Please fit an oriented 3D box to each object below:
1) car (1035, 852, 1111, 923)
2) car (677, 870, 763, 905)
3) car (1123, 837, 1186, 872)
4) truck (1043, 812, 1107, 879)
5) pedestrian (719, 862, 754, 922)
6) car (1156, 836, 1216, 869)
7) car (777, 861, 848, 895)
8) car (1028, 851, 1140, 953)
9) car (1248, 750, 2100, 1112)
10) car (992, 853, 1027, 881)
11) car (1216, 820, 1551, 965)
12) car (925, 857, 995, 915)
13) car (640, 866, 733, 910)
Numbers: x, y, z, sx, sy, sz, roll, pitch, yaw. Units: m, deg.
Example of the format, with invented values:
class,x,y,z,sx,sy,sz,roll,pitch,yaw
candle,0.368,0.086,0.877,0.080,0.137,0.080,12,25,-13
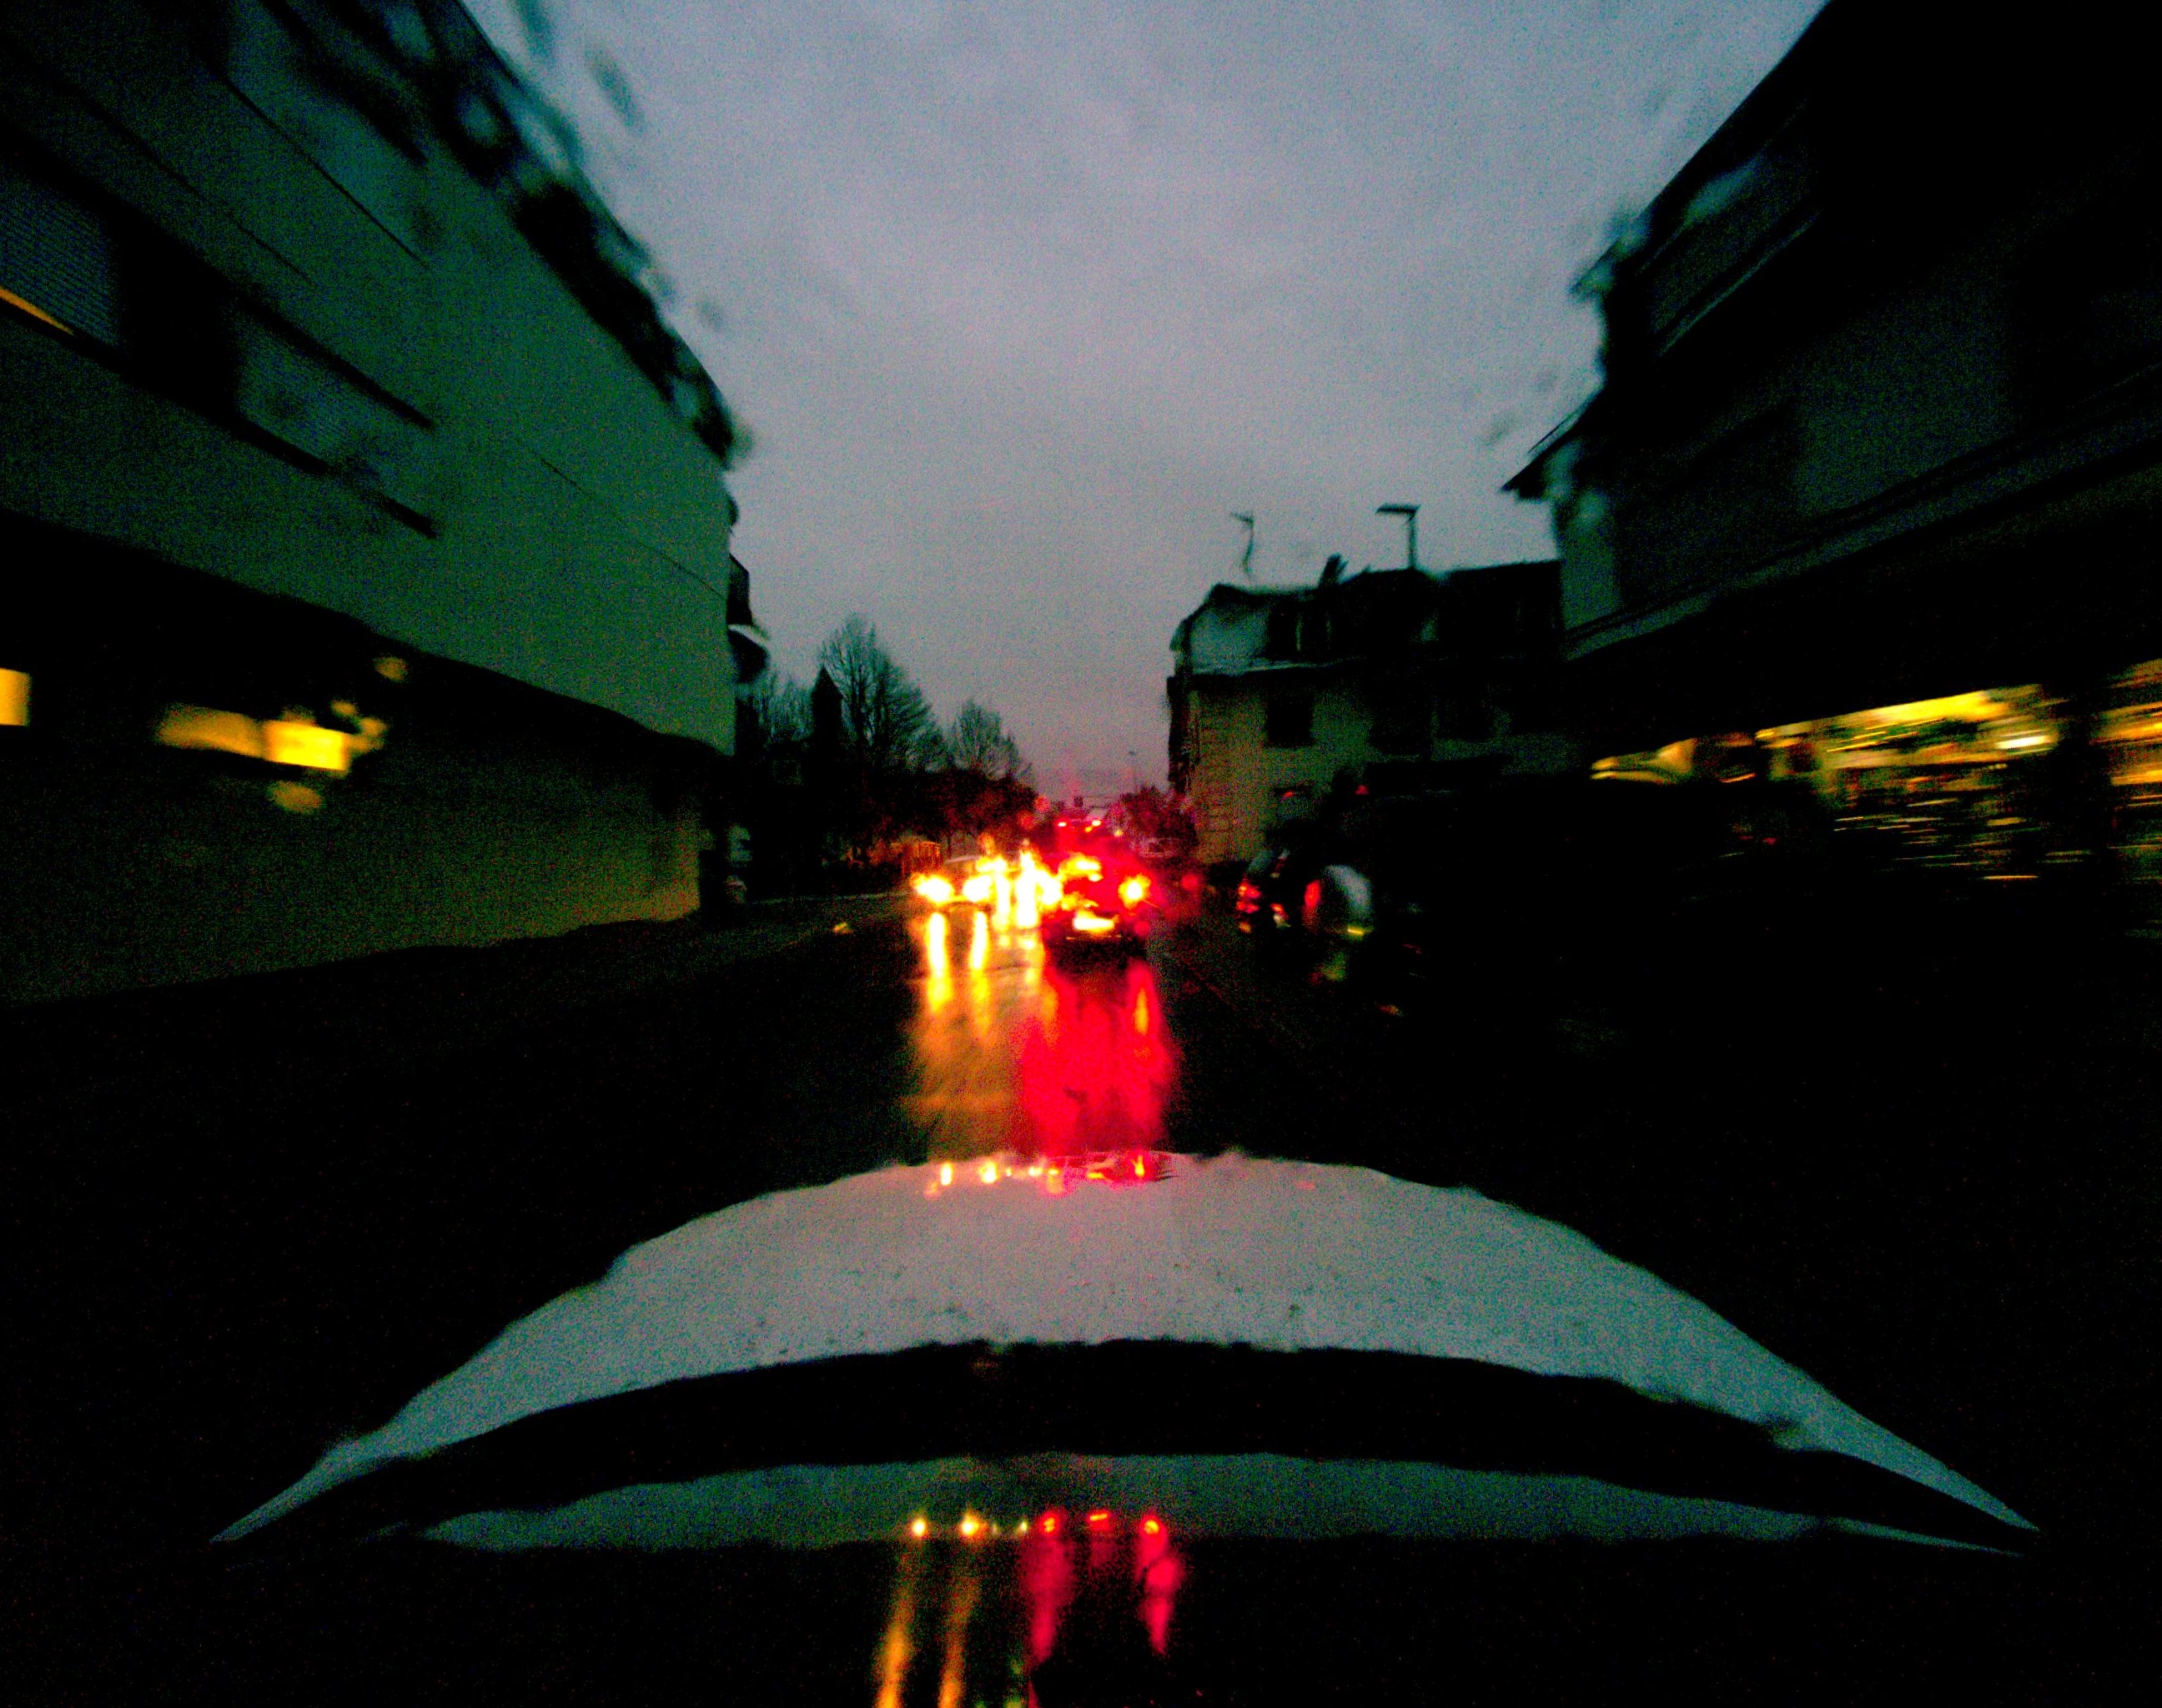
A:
class,x,y,z,sx,sy,sz,roll,pitch,yaw
car,-0.184,0.732,19.474,1.633,1.481,3.270,-2,0,-1
car,-19.342,1.789,43.701,3.954,1.730,1.828,-2,0,19
car,5.037,0.014,55.475,4.076,2.163,1.917,-2,0,6
truck,-0.458,-0.416,43.322,3.008,3.128,7.993,-2,0,-2
pedestrian,-8.653,0.948,20.464,0.653,1.458,0.643,-2,0,-37
car,7.442,-0.120,57.794,4.075,2.151,1.917,-2,0,7
car,-17.087,1.506,51.856,3.954,1.998,1.828,-2,0,19
car,0.049,0.719,13.872,1.633,1.481,3.378,-2,0,0
car,3.719,0.395,5.651,4.596,1.775,1.942,-3,0,-5
car,-4.466,0.815,51.571,1.805,1.596,4.398,-2,0,-1
car,3.976,0.466,11.055,3.864,1.579,1.679,-3,0,-6
car,-3.513,0.882,24.160,1.634,1.535,3.404,-2,0,-2
car,-19.806,1.700,40.902,3.954,1.988,1.828,-2,0,19
